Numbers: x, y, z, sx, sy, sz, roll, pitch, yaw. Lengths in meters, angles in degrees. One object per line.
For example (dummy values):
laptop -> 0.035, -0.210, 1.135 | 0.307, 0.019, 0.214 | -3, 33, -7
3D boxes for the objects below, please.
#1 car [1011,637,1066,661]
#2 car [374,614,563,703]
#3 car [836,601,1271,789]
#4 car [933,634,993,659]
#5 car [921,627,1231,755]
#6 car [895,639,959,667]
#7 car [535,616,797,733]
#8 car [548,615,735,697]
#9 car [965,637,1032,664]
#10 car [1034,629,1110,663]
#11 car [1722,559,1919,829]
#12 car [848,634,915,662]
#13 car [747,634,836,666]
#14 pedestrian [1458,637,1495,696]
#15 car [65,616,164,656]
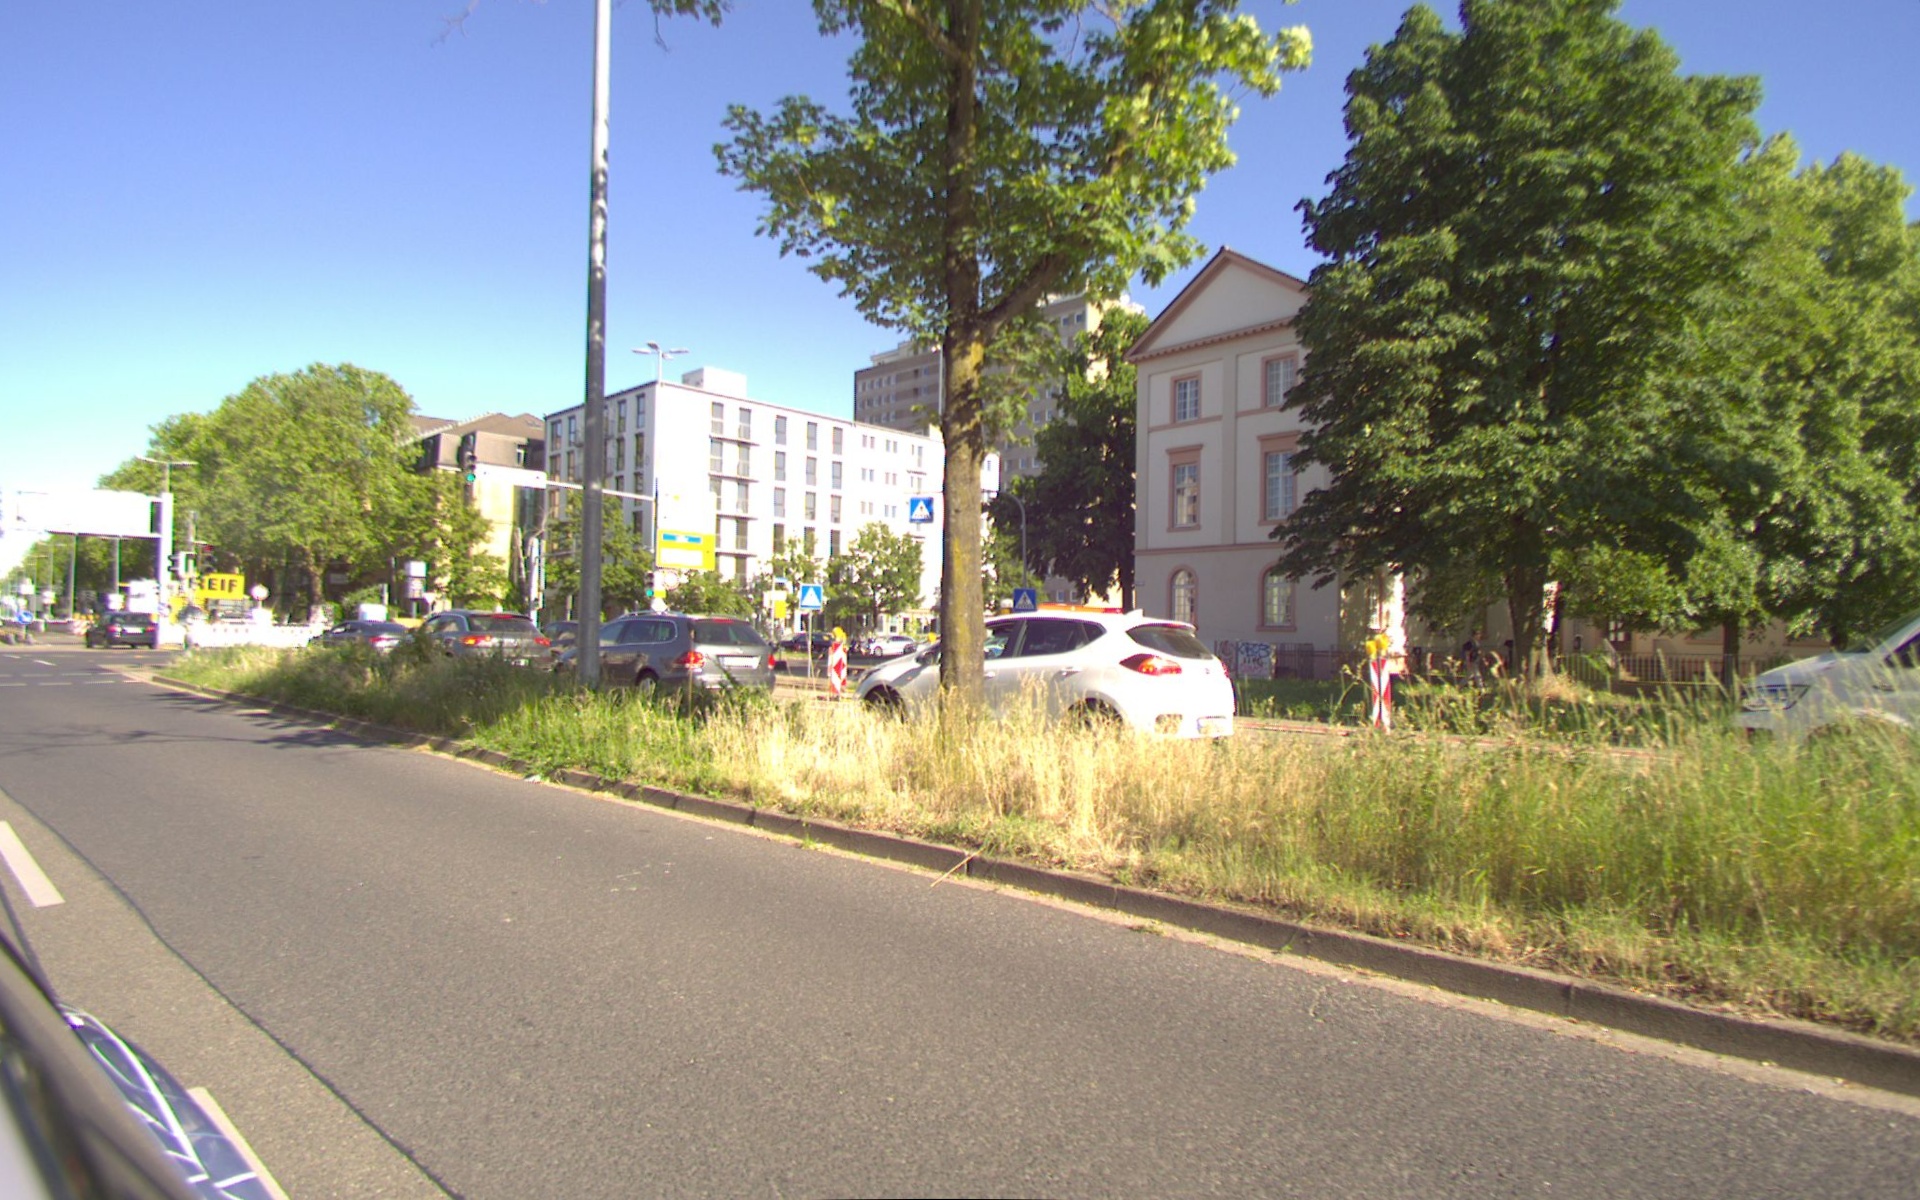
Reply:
car -> 5.926, 3.662, 76.190 | 3.938, 1.630, 1.922 | 2, 1, -42
car -> -9.640, 1.050, 19.690 | 4.345, 1.530, 1.777 | 0, -1, 42
car -> 0.806, 0.834, 10.331 | 4.203, 1.530, 1.777 | -1, -3, 41
car -> 0.225, 3.226, 70.843 | 3.939, 1.630, 1.921 | 2, 1, -43
car -> 1.530, 1.162, 14.278 | 4.078, 1.530, 1.777 | -1, -2, 41
car -> -2.065, 3.346, 64.340 | 3.939, 1.630, 1.564 | 2, 1, -43
car -> -4.554, 1.026, 15.345 | 4.361, 1.530, 1.777 | -1, -2, 41
car -> -6.773, 1.098, 21.328 | 4.345, 1.530, 1.777 | 0, -1, 42
car -> 2.636, 3.371, 68.681 | 1.920, 1.630, 4.643 | 3, 1, 44
car -> 8.174, 3.307, 73.557 | 5.806, 2.247, 1.922 | 2, 1, -40
car -> 8.985, 0.729, 7.642 | 5.015, 2.043, 2.209 | -1, -2, 41
car -> -5.065, 3.085, 65.506 | 3.939, 1.630, 1.921 | 2, 1, -43
car -> -9.589, 2.820, 57.762 | 4.636, 1.630, 1.923 | 2, 1, -39
pedestrian -> 13.836, 1.763, 27.102 | 0.780, 1.547, 0.733 | -1, -3, 37
car -> -36.096, 1.517, 43.201 | 4.260, 1.598, 1.845 | 0, -2, 29
